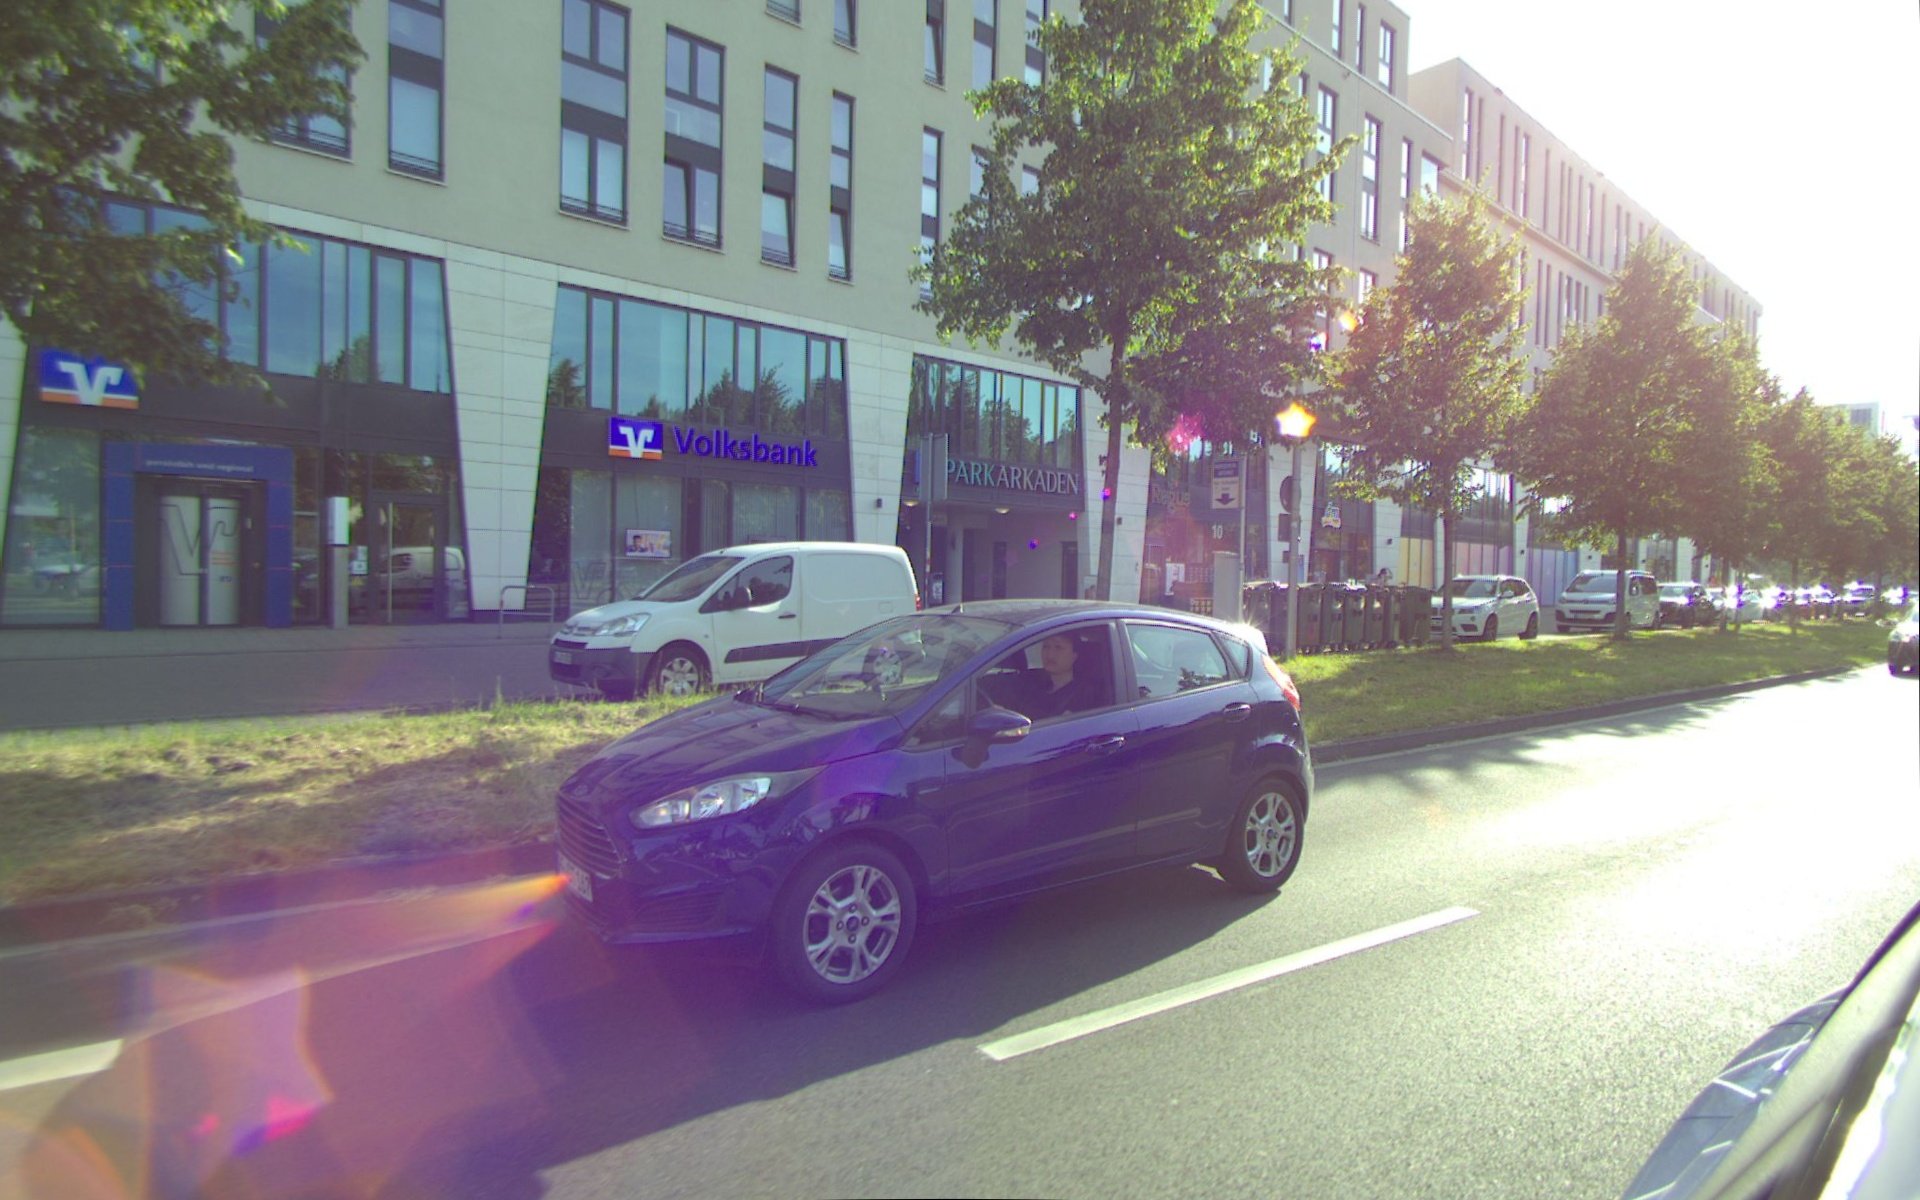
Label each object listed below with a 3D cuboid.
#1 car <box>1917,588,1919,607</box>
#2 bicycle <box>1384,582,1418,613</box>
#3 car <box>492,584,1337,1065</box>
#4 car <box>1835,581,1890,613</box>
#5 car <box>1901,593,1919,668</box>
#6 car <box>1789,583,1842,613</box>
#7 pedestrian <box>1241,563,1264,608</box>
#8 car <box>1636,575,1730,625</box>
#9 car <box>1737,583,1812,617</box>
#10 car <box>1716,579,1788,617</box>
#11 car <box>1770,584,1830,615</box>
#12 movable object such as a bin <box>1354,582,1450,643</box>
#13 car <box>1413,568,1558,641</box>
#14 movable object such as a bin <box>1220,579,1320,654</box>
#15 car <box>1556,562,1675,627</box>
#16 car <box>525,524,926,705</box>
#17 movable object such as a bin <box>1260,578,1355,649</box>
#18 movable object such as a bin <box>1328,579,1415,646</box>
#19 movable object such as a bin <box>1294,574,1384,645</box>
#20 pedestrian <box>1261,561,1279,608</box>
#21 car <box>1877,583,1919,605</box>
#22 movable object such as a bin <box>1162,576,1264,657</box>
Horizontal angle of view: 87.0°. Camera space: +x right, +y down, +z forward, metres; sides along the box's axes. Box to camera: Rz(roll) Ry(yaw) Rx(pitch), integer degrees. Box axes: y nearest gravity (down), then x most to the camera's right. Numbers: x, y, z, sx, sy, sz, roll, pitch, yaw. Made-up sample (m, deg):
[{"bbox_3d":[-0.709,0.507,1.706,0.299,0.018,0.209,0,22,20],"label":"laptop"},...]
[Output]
[{"bbox_3d":[80.369,-0.248,83.353,4.253,1.549,1.839,-1,1,-41],"label":"car"},{"bbox_3d":[16.294,-0.089,37.382,1.702,1.093,0.345,-1,6,-40],"label":"bicycle"},{"bbox_3d":[-0.002,0.656,4.844,3.835,1.442,1.564,-1,1,-37],"label":"car"},{"bbox_3d":[55.039,-0.208,61.698,4.760,1.898,1.898,-1,1,-41],"label":"car"},{"bbox_3d":[20.793,0.591,20.767,3.968,1.442,1.698,-1,1,-40],"label":"car"},{"bbox_3d":[46.241,-0.136,54.683,1.868,1.510,4.344,0,1,45],"label":"car"},{"bbox_3d":[10.233,-0.511,35.415,0.587,1.541,0.514,-1,0,-41],"label":"pedestrian"},{"bbox_3d":[25.922,-0.030,36.231,4.262,1.671,1.732,-1,1,-40],"label":"car"},{"bbox_3d":[36.933,-0.042,45.827,4.637,1.450,1.732,-1,1,-39],"label":"car"},{"bbox_3d":[30.981,-0.113,39.571,4.098,1.430,1.617,-1,1,-43],"label":"car"},{"bbox_3d":[42.233,-0.054,50.878,4.043,1.450,1.731,-1,1,-41],"label":"car"},{"bbox_3d":[9.458,0.237,21.719,1.307,1.252,1.406,0,1,-13],"label":"movable object such as a bin"},{"bbox_3d":[13.351,0.073,25.588,4.768,1.650,1.732,0,2,-43],"label":"car"},{"bbox_3d":[5.463,0.261,17.852,1.171,1.252,1.278,-1,1,-43],"label":"movable object such as a bin"},{"bbox_3d":[20.739,-0.192,31.930,4.943,1.899,1.841,-1,1,-41],"label":"car"},{"bbox_3d":[-2.583,0.101,11.789,4.223,1.733,1.829,-1,1,-42],"label":"car"},{"bbox_3d":[6.422,0.222,18.726,1.171,1.252,1.278,-1,1,-43],"label":"movable object such as a bin"},{"bbox_3d":[8.393,0.236,20.634,1.171,1.318,1.278,-1,1,-43],"label":"movable object such as a bin"},{"bbox_3d":[7.395,0.169,19.763,1.171,1.334,1.278,-1,1,-43],"label":"movable object such as a bin"},{"bbox_3d":[10.729,-0.528,35.032,0.511,1.594,0.534,0,0,30],"label":"pedestrian"},{"bbox_3d":[67.688,-0.436,72.736,4.828,1.507,1.765,-1,1,-37],"label":"car"},{"bbox_3d":[4.326,0.254,17.322,1.158,1.307,1.278,-1,1,-43],"label":"movable object such as a bin"}]
